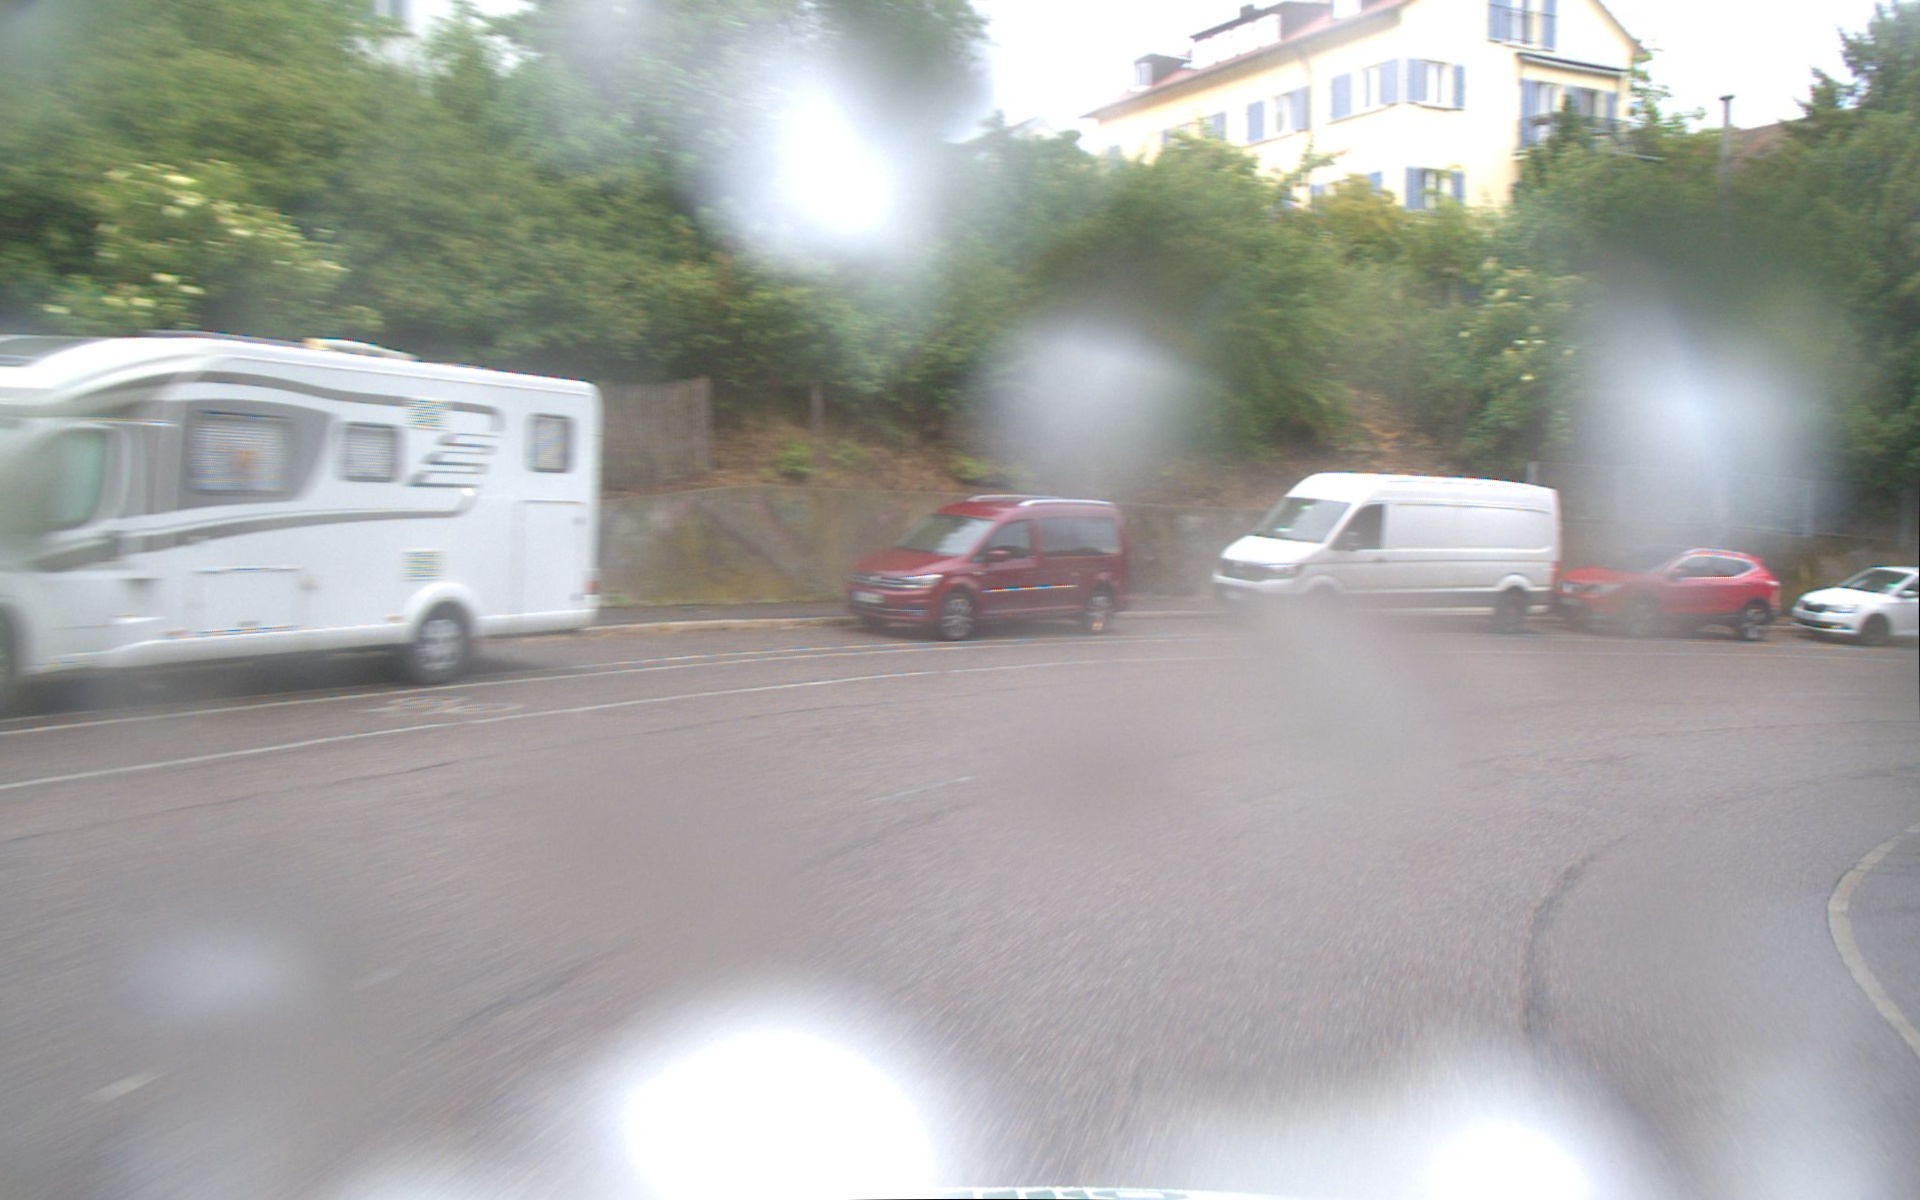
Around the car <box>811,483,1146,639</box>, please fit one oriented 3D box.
[{"bbox_3d":[0.363,-0.580,23.432,1.967,1.907,4.790,7,6,43],"label":"car"}]

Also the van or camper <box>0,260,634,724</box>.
[{"bbox_3d":[-6.091,-0.843,13.756,2.404,3.017,7.518,4,3,27],"label":"van or camper"}]

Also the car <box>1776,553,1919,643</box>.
[{"bbox_3d":[18.308,-0.017,32.111,4.109,1.503,1.741,2,6,-10],"label":"car"}]

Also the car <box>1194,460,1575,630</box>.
[{"bbox_3d":[7.324,-0.911,28.170,6.730,2.573,2.022,0,5,-31],"label":"car"}]

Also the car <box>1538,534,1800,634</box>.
[{"bbox_3d":[13.178,-0.295,30.761,4.351,1.612,1.773,1,4,-19],"label":"car"}]
